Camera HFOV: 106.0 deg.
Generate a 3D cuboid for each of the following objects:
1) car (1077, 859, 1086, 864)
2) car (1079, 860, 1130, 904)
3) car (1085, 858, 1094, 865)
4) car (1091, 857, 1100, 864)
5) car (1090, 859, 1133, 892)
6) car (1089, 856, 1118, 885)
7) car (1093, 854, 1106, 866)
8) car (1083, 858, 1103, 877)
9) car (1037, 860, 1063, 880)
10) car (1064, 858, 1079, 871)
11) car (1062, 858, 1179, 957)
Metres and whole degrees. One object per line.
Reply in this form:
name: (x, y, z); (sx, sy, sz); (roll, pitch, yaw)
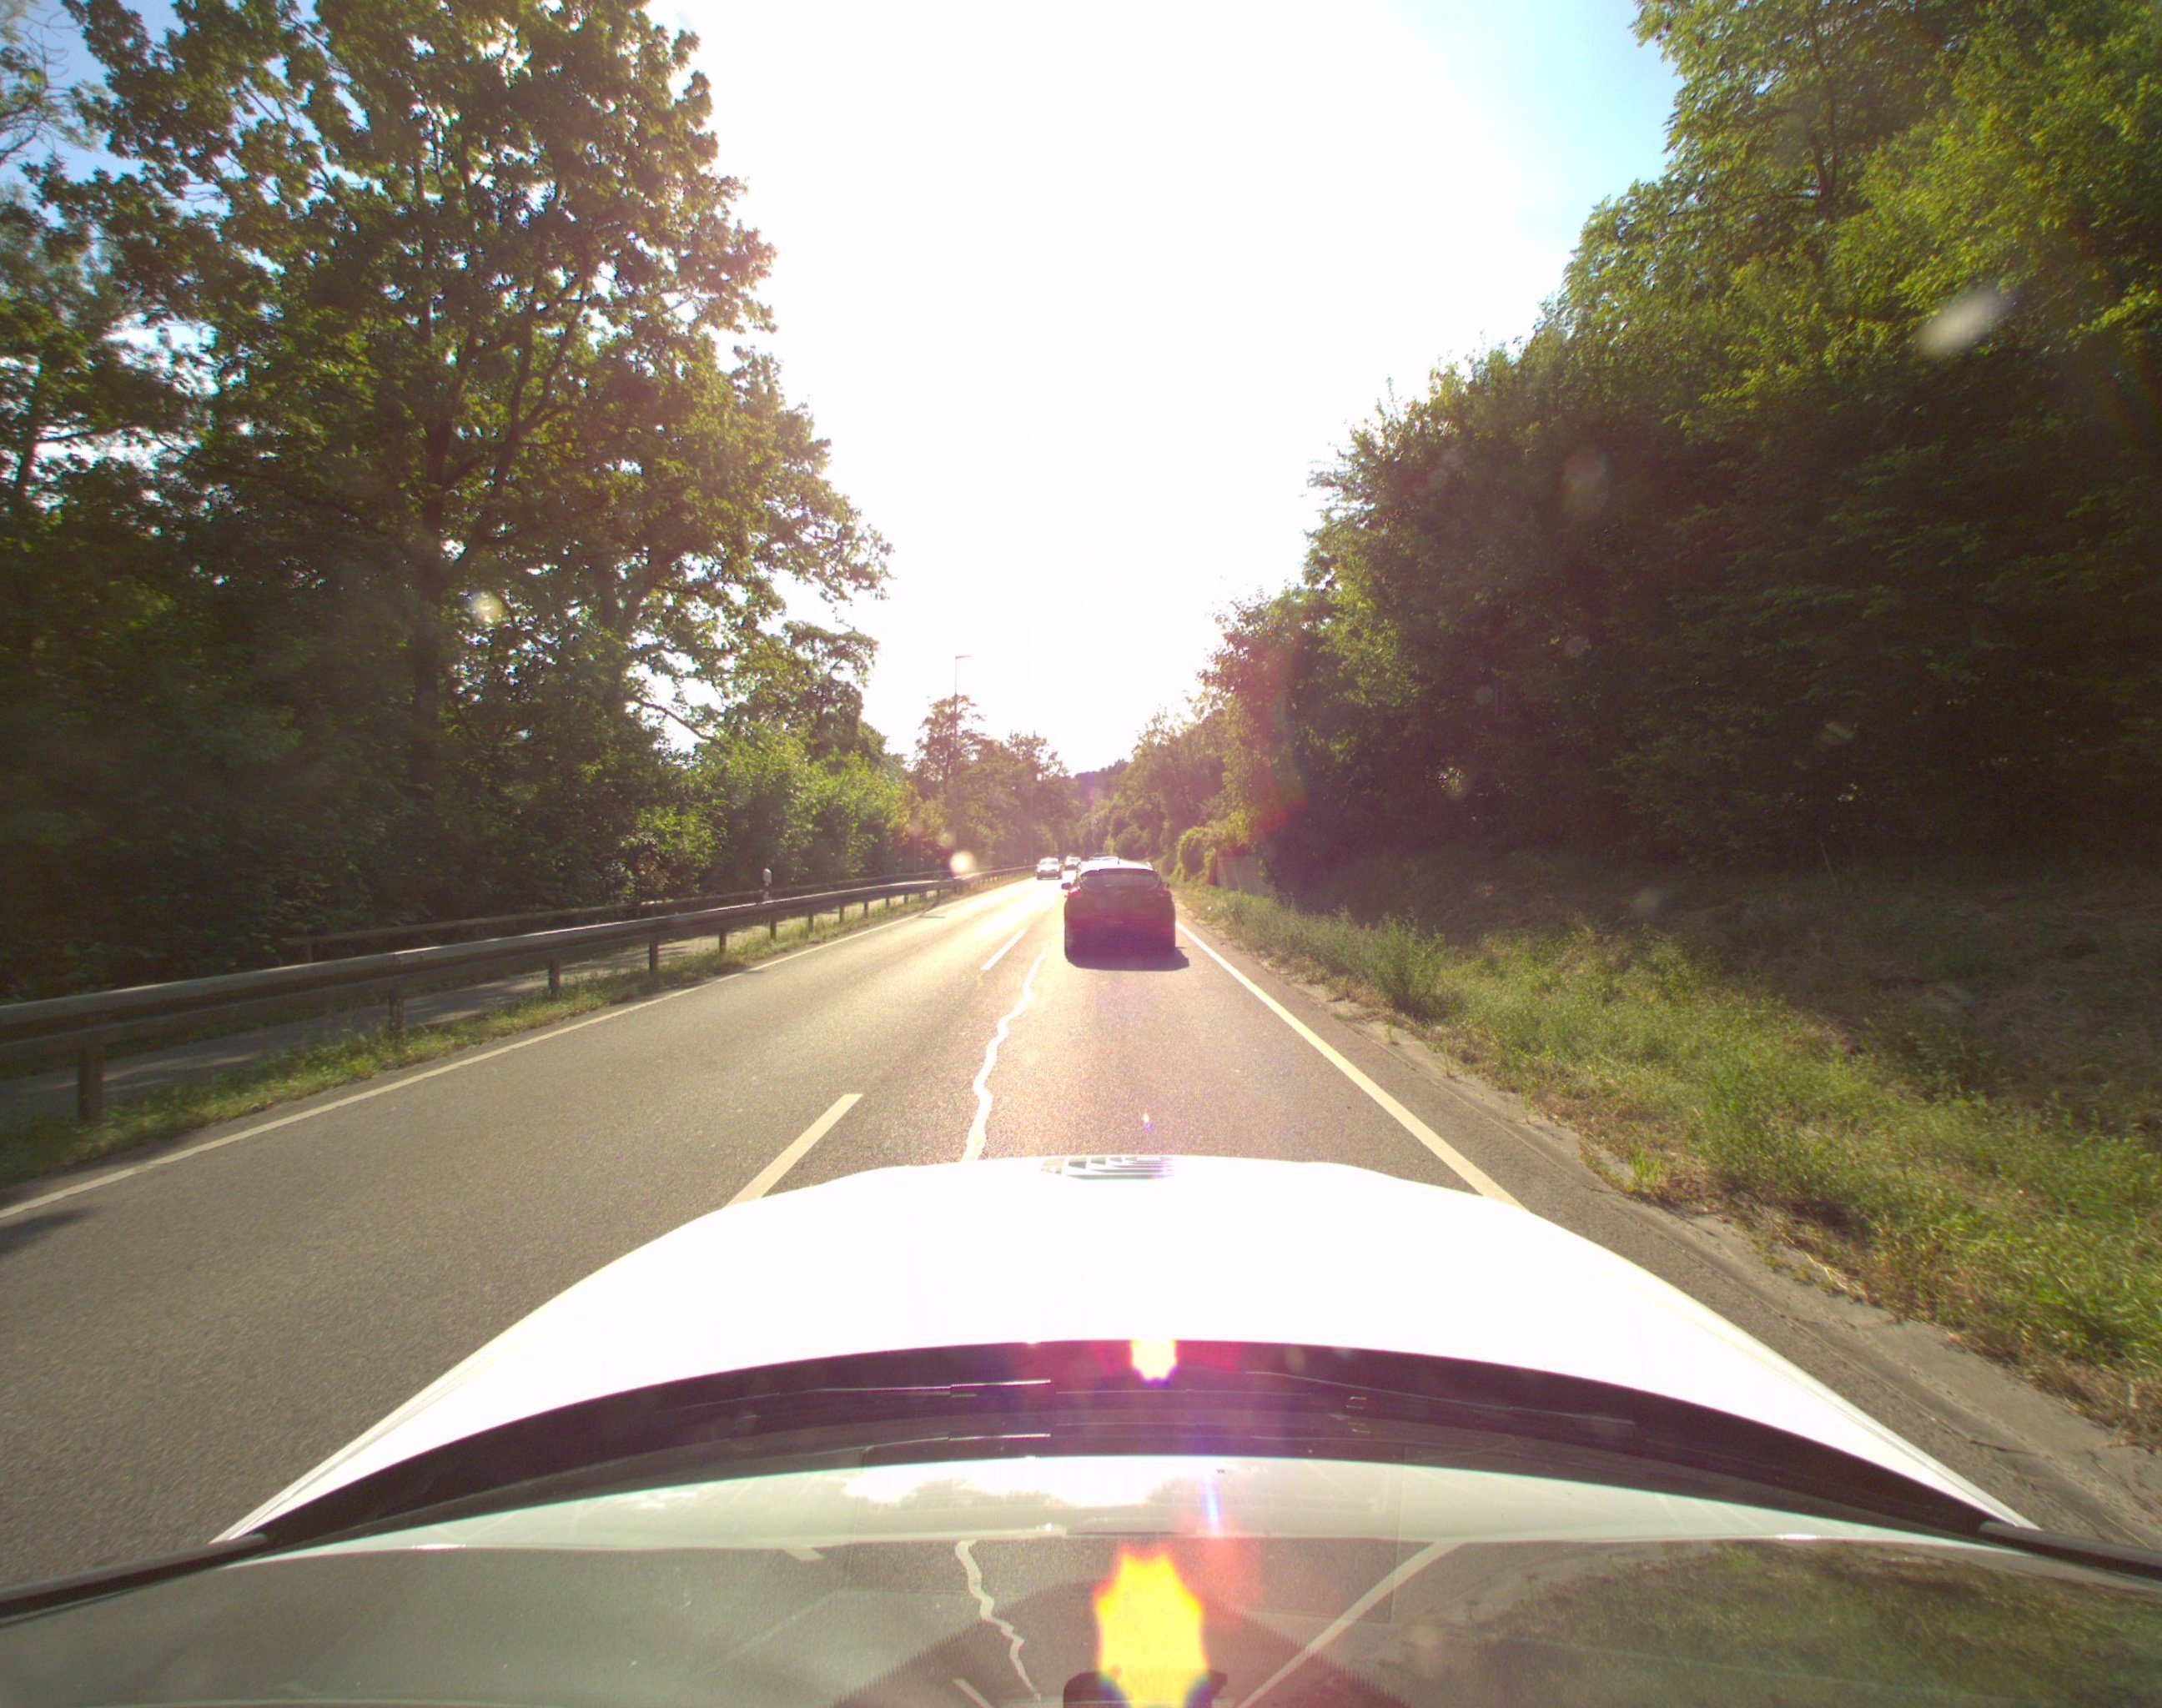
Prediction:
car: (0.041, 2.108, 231.117); (1.992, 1.519, 3.990); (-1, 0, -7)
car: (0.871, 0.922, 28.680); (1.654, 1.418, 4.003); (-1, 0, 3)
car: (2.079, 1.877, 201.533); (1.991, 1.519, 3.992); (-1, 0, -6)
car: (3.138, 1.394, 175.740); (1.813, 1.519, 4.001); (-1, 0, 2)
car: (1.345, 0.922, 36.585); (1.798, 1.391, 4.001); (-1, 0, 2)
car: (1.357, 0.949, 48.288); (1.625, 1.596, 4.001); (-1, 0, 2)
car: (2.829, 0.902, 124.447); (1.857, 1.781, 4.000); (-1, 0, 0)
car: (1.075, 1.137, 70.149); (1.625, 1.596, 4.001); (-1, 0, 2)
car: (-2.198, 1.109, 58.757); (1.617, 1.377, 4.048); (-1, 0, 1)
car: (-1.093, 1.225, 96.839); (1.676, 1.463, 4.198); (-1, 0, 1)
car: (0.650, 0.822, 14.219); (1.733, 1.456, 4.001); (-1, -1, 2)
